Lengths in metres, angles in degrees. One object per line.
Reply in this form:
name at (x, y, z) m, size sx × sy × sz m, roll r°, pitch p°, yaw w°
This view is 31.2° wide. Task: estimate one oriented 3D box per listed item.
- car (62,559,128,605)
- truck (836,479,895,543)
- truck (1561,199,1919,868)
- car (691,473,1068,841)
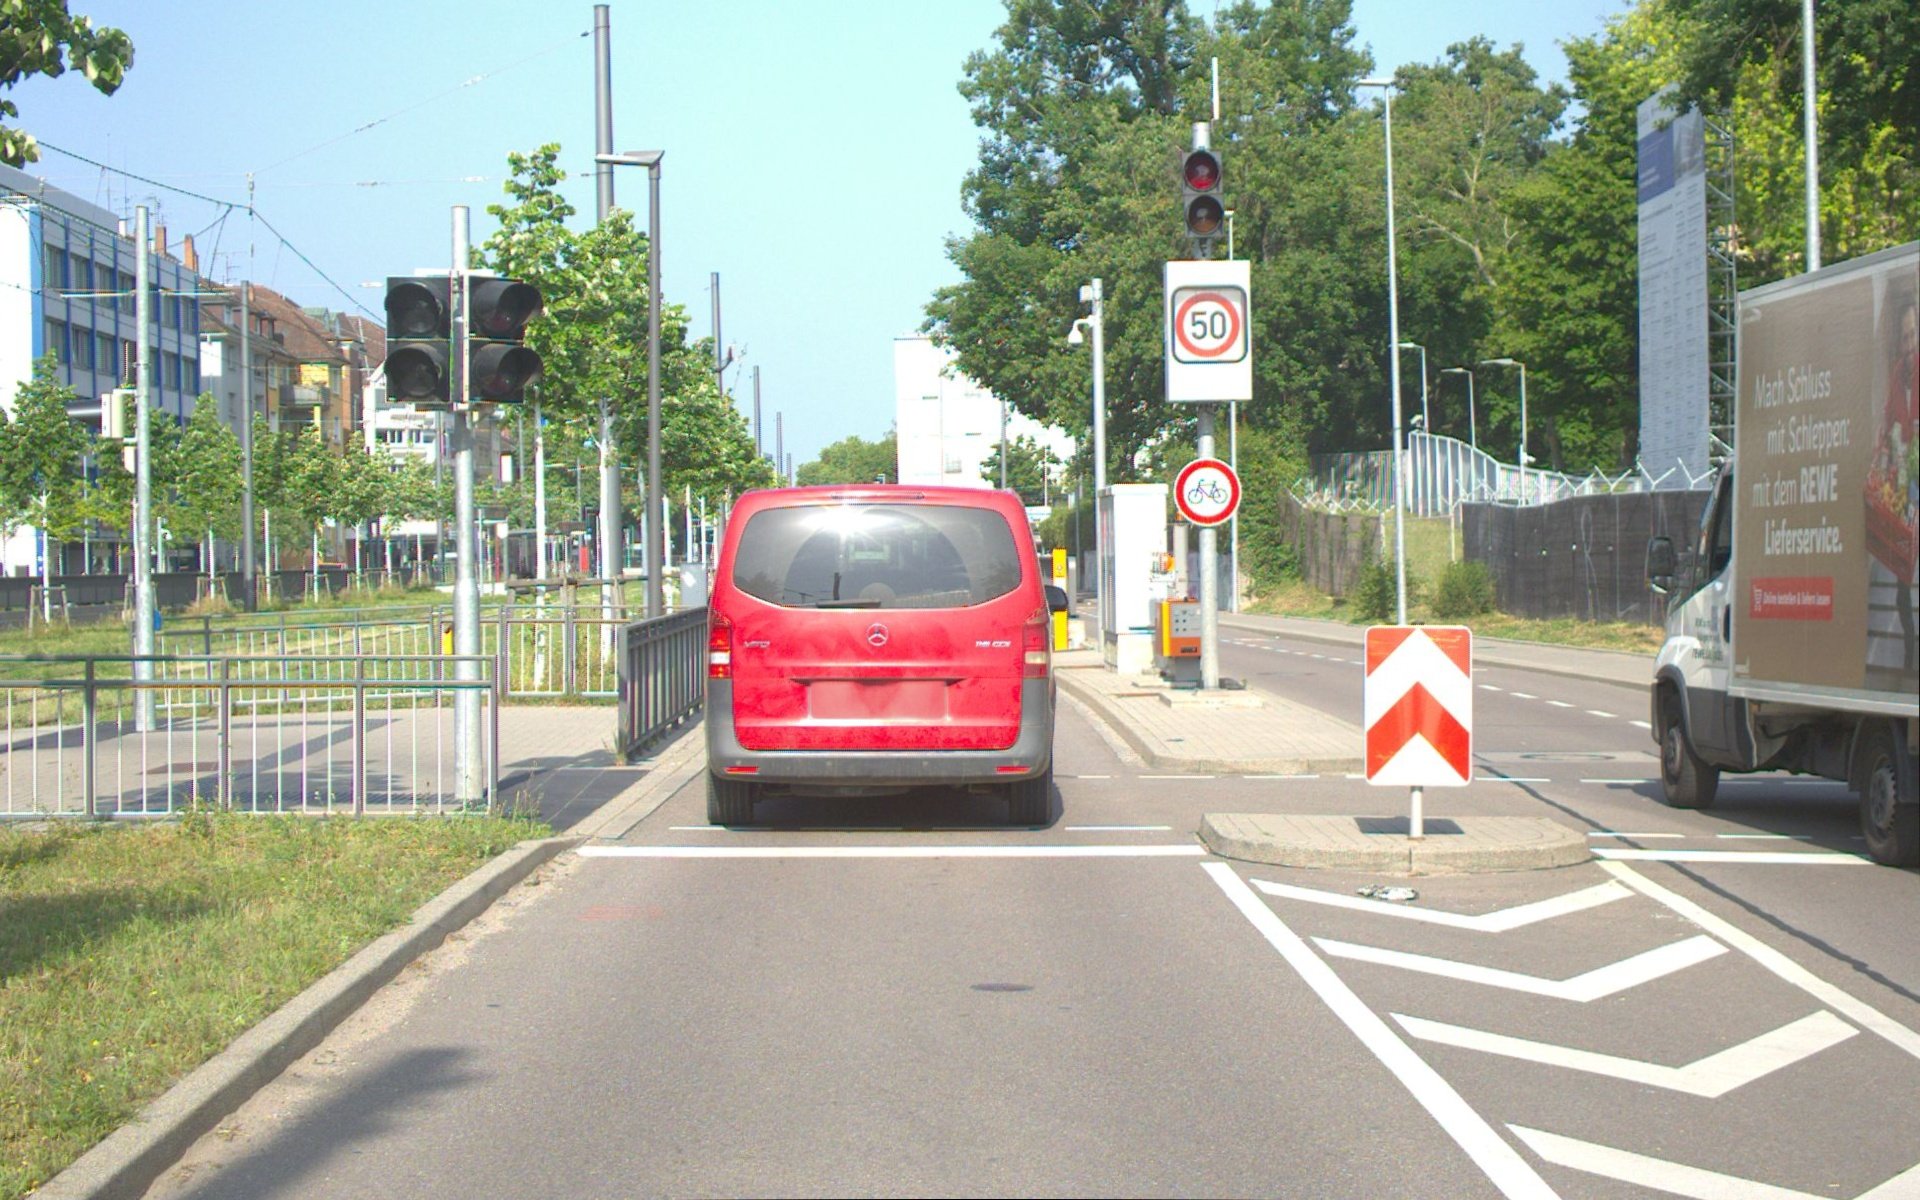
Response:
car at (-30.310, -0.640, 120.538) m, size 1.518 × 1.459 × 3.825 m, roll -1°, pitch 2°, yaw -3°
truck at (-5.845, -5.420, 210.747) m, size 3.390 × 3.713 × 10.452 m, roll -1°, pitch 1°, yaw -2°
truck at (5.443, -0.303, 18.629) m, size 2.502 × 3.050 × 7.821 m, roll 1°, pitch 0°, yaw -3°
car at (-0.434, 0.267, 19.605) m, size 1.901 × 1.853 × 4.000 m, roll 1°, pitch 1°, yaw -1°
